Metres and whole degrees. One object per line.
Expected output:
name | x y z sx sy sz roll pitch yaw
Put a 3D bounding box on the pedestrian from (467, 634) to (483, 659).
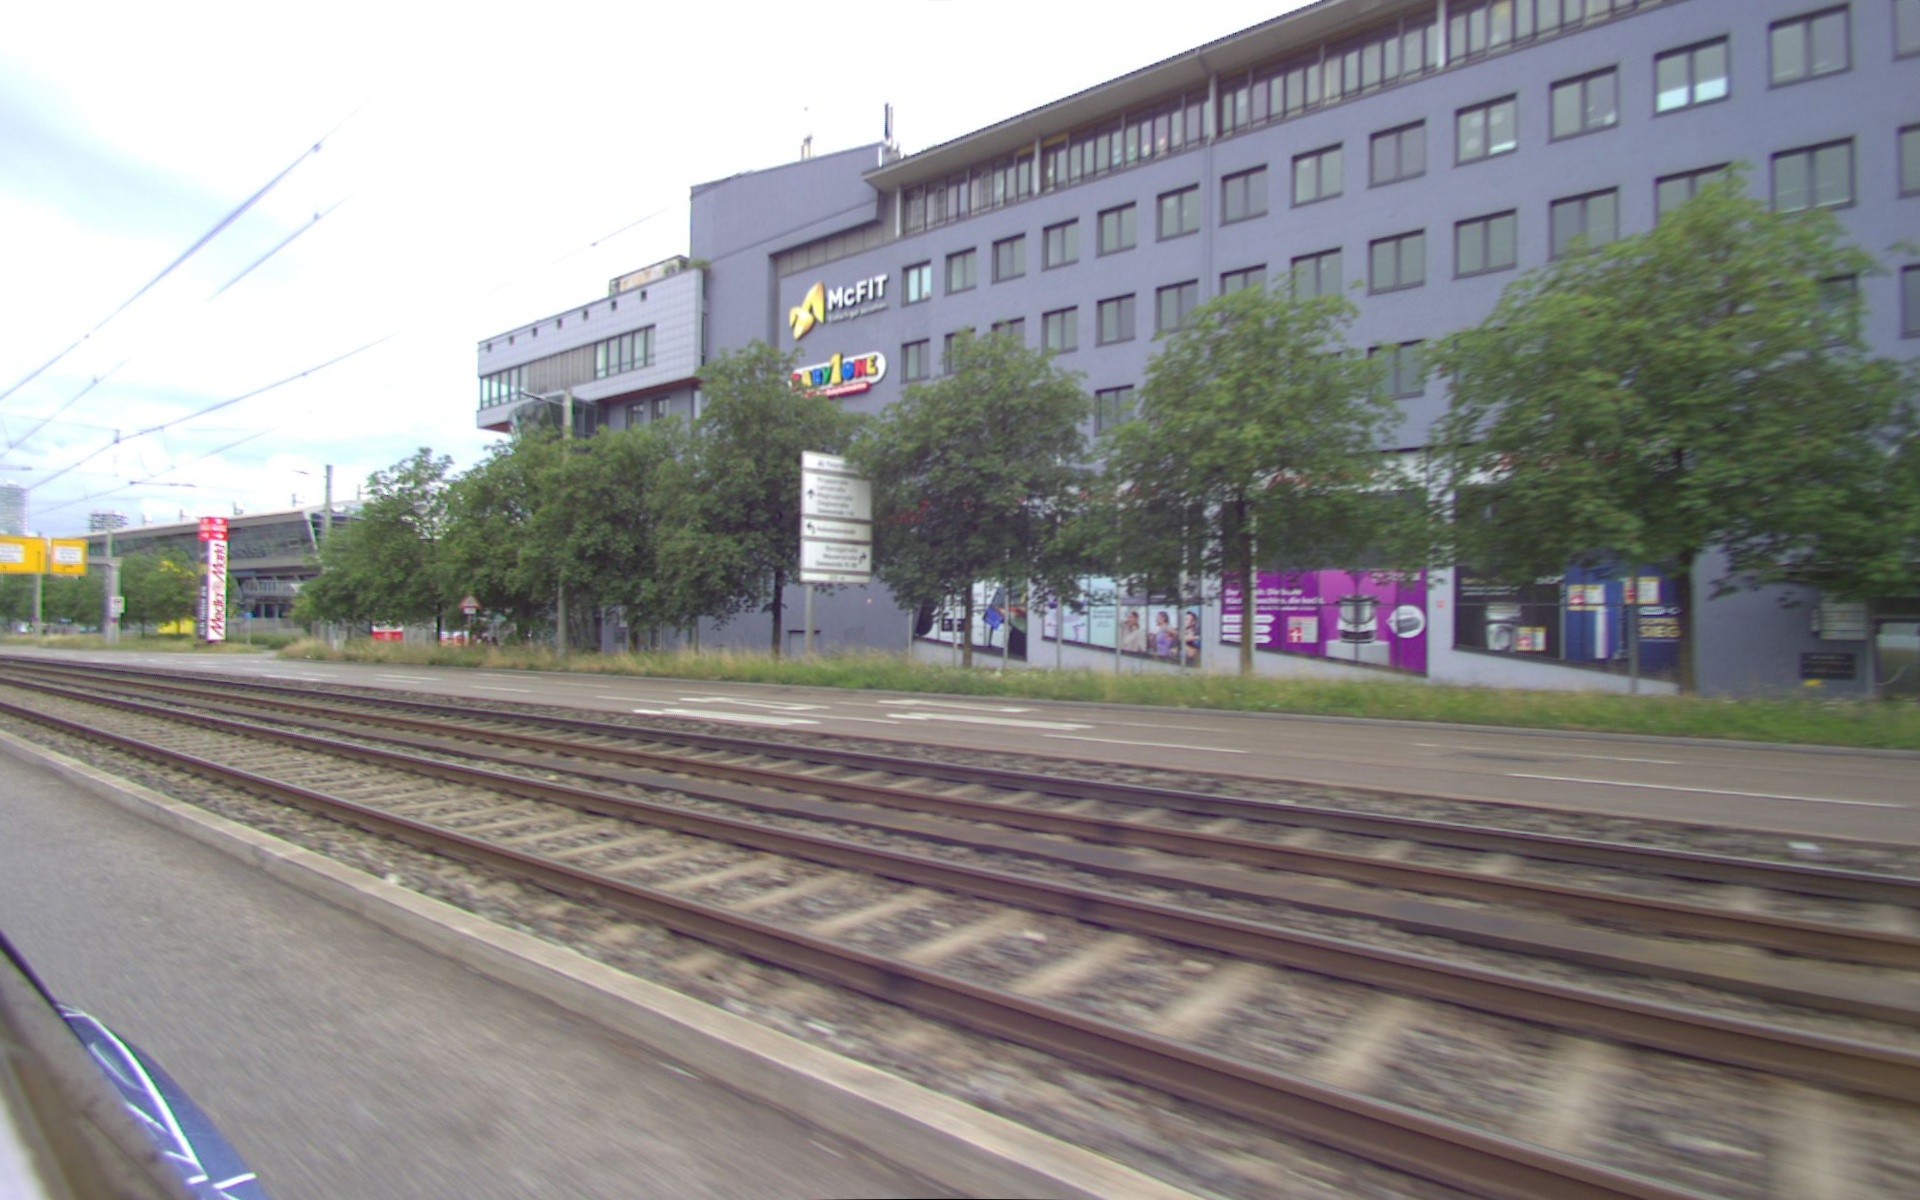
pedestrian | -33.565 3.208 70.068 0.578 1.692 0.802 -1 -3 28
